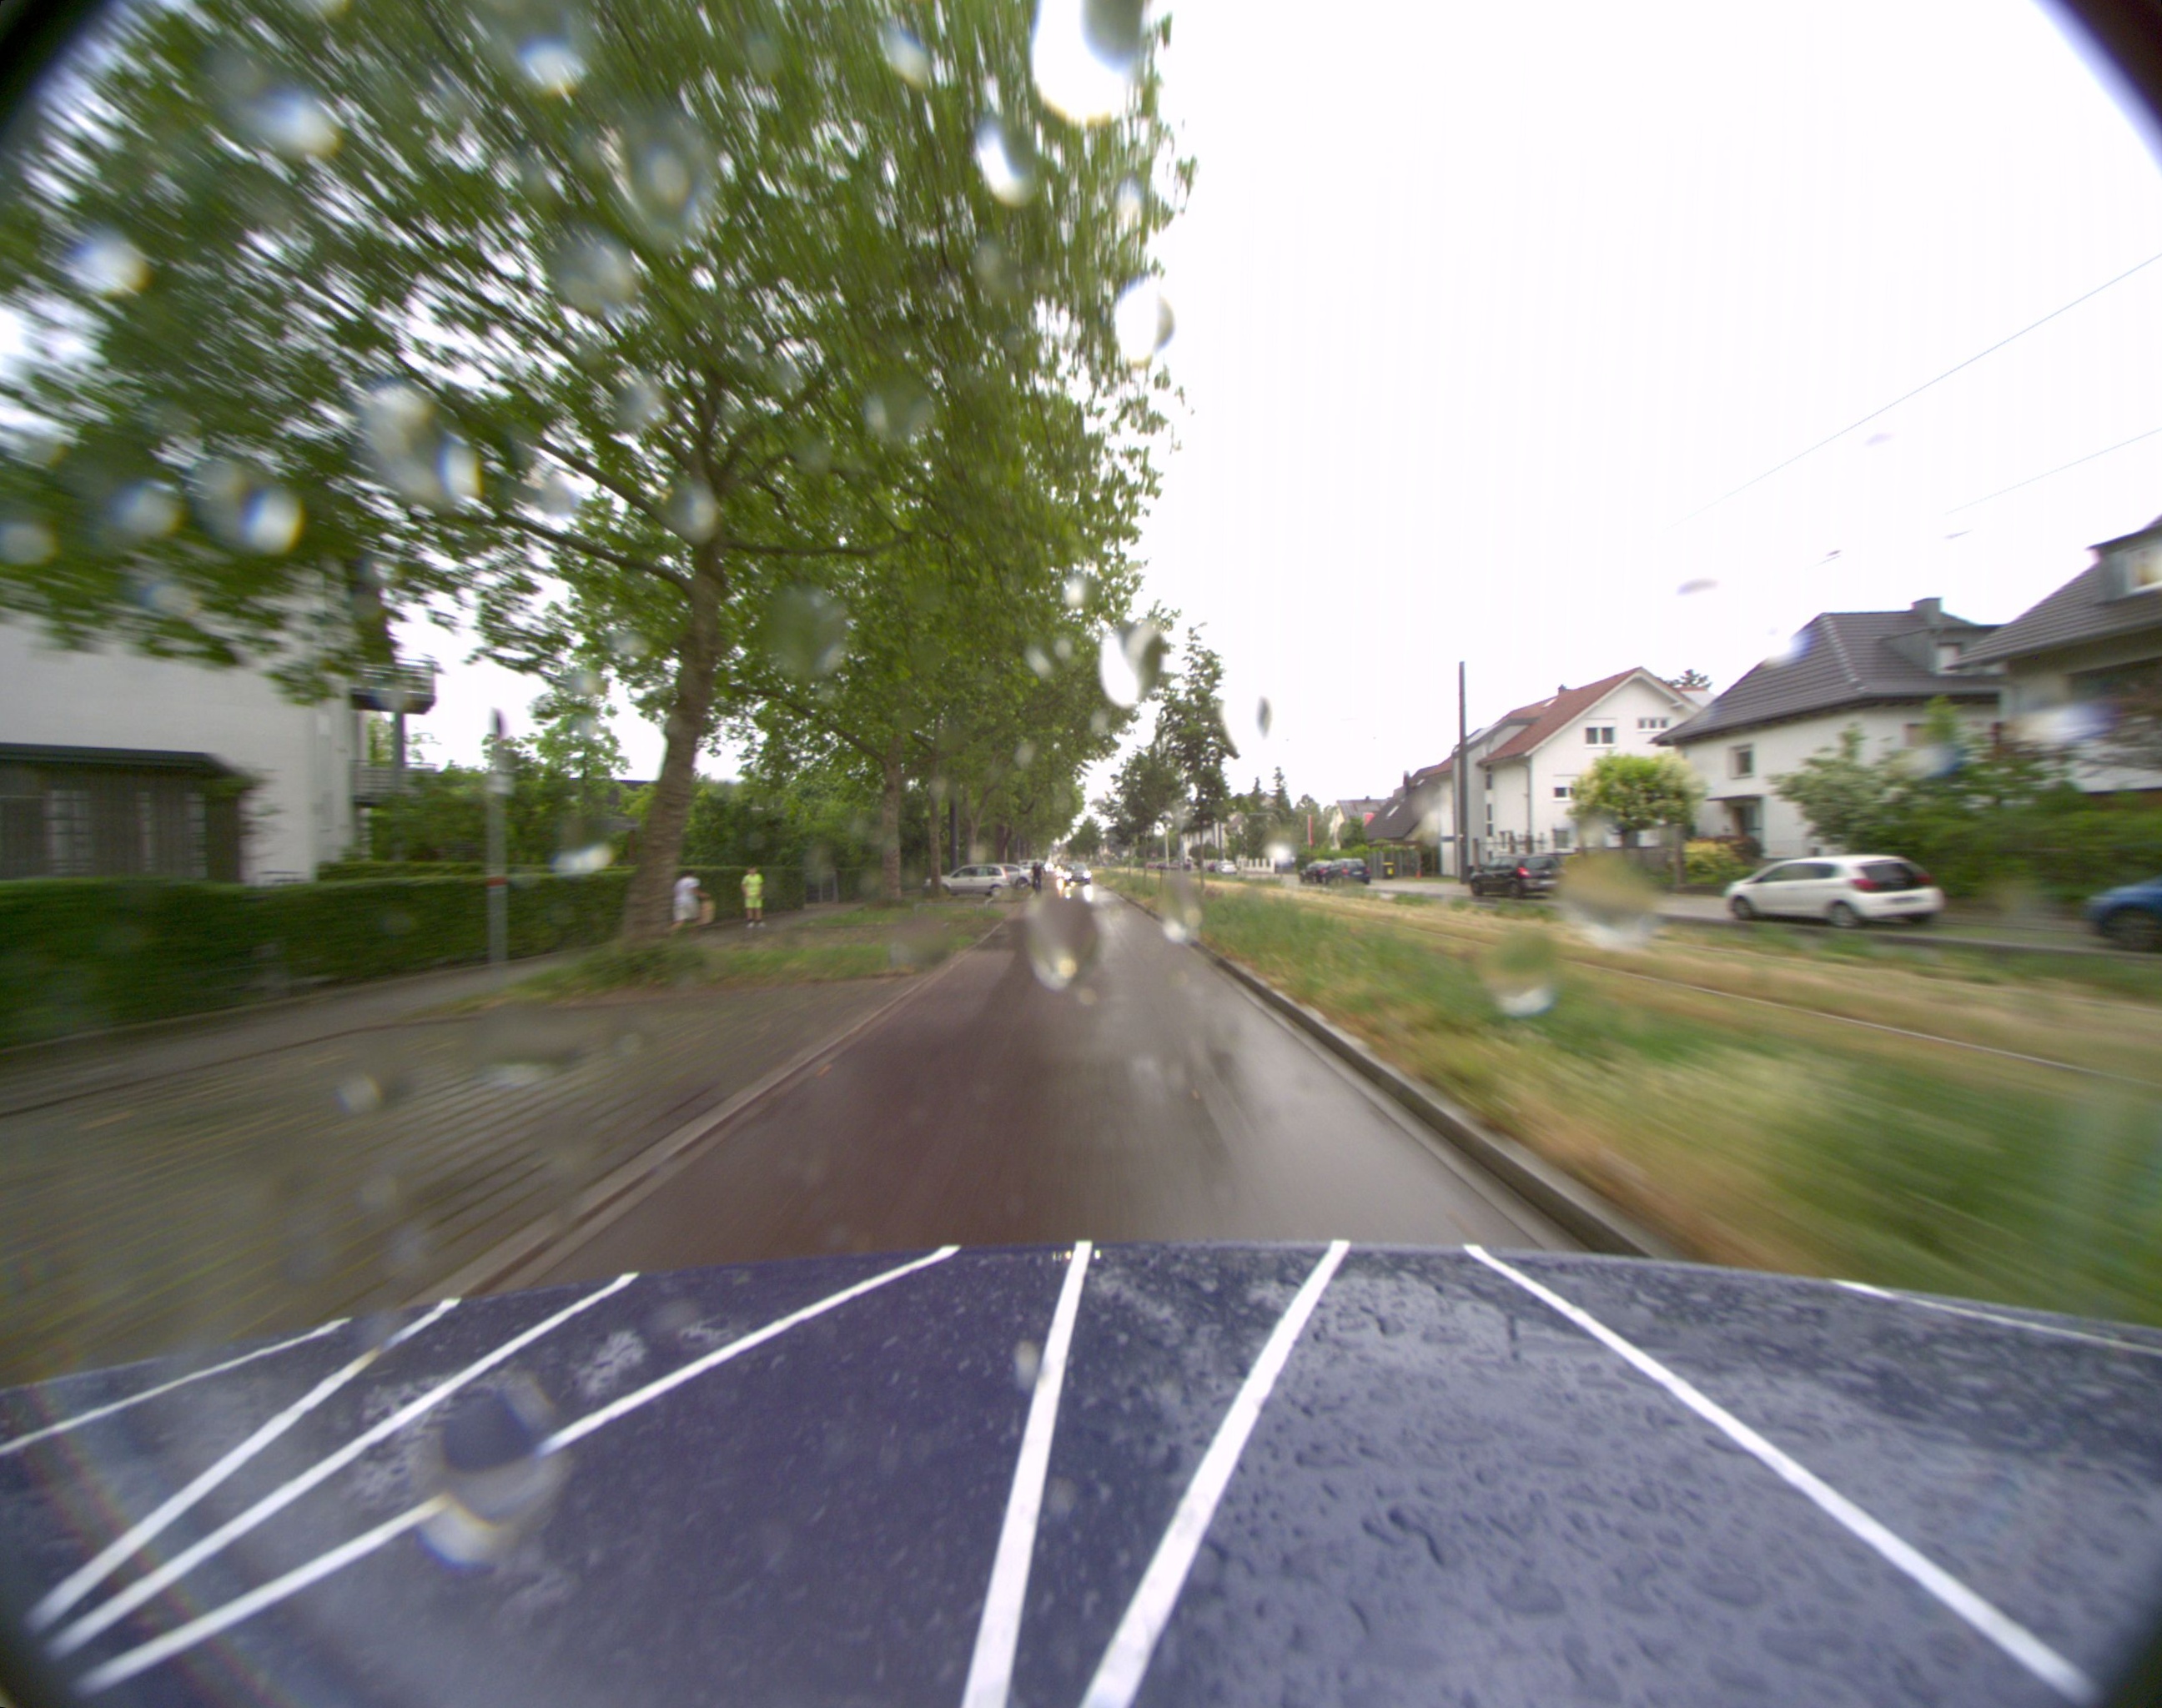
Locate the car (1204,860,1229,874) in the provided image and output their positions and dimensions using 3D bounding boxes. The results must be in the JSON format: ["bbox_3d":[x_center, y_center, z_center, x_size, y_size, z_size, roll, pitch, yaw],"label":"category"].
[{"bbox_3d":[15.051,1.465,84.598,1.998,1.447,4.531,-3,-1,0],"label":"car"}]

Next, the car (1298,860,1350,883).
[{"bbox_3d":[16.065,1.152,50.478,1.998,1.342,4.240,-3,-1,0],"label":"car"}]

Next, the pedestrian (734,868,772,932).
[{"bbox_3d":[-8.093,1.112,18.795,0.558,1.529,0.966,-1,0,-5],"label":"pedestrian"}]

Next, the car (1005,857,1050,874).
[{"bbox_3d":[-6.371,1.365,90.689,5.040,2.001,1.995,1,-2,-36],"label":"car"}]

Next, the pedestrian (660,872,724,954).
[{"bbox_3d":[-7.605,1.130,14.890,0.835,1.529,0.860,0,0,-5],"label":"pedestrian"}]

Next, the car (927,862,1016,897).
[{"bbox_3d":[-5.087,1.156,35.351,3.871,1.557,1.617,1,-1,-19],"label":"car"}]

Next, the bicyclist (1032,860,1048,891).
[{"bbox_3d":[-1.856,0.968,34.485,0.675,1.421,0.753,1,0,-7],"label":"bicyclist"}]

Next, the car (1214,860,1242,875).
[{"bbox_3d":[15.367,1.434,79.455,1.999,1.402,3.971,-3,-1,-2],"label":"car"}]

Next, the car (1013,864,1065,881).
[{"bbox_3d":[-4.014,1.790,72.625,4.570,1.535,1.883,2,-2,-33],"label":"car"}]

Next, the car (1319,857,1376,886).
[{"bbox_3d":[15.959,1.046,45.740,1.879,1.541,3.870,-3,-1,-2],"label":"car"}]

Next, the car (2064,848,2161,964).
[{"bbox_3d":[16.577,0.714,9.811,1.998,1.604,4.413,-3,-1,0],"label":"car"}]

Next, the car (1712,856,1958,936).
[{"bbox_3d":[16.358,0.852,16.782,1.801,1.479,3.597,-3,-1,0],"label":"car"}]

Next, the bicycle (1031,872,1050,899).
[{"bbox_3d":[-1.861,1.419,34.538,0.675,1.136,2.444,1,0,-7],"label":"bicycle"}]

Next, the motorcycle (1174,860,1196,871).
[{"bbox_3d":[14.505,1.567,106.120,2.680,1.403,1.269,-2,1,40],"label":"motorcycle"}]

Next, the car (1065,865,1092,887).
[{"bbox_3d":[-0.245,1.598,55.825,1.781,1.477,3.999,1,-1,-3],"label":"car"}]

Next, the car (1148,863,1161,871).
[{"bbox_3d":[13.464,2.396,139.456,1.802,1.448,4.000,-3,-1,0],"label":"car"}]

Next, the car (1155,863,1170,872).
[{"bbox_3d":[13.761,2.229,128.163,1.998,1.402,4.762,-3,-1,0],"label":"car"}]

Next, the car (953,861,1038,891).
[{"bbox_3d":[-5.163,1.296,46.322,4.784,1.658,1.990,-1,0,-38],"label":"car"}]

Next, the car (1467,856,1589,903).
[{"bbox_3d":[16.428,0.896,28.230,1.998,1.507,4.206,-3,-1,0],"label":"car"}]

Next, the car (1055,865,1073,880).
[{"bbox_3d":[-1.813,1.957,80.088,1.781,1.477,3.999,1,-1,-3],"label":"car"}]
